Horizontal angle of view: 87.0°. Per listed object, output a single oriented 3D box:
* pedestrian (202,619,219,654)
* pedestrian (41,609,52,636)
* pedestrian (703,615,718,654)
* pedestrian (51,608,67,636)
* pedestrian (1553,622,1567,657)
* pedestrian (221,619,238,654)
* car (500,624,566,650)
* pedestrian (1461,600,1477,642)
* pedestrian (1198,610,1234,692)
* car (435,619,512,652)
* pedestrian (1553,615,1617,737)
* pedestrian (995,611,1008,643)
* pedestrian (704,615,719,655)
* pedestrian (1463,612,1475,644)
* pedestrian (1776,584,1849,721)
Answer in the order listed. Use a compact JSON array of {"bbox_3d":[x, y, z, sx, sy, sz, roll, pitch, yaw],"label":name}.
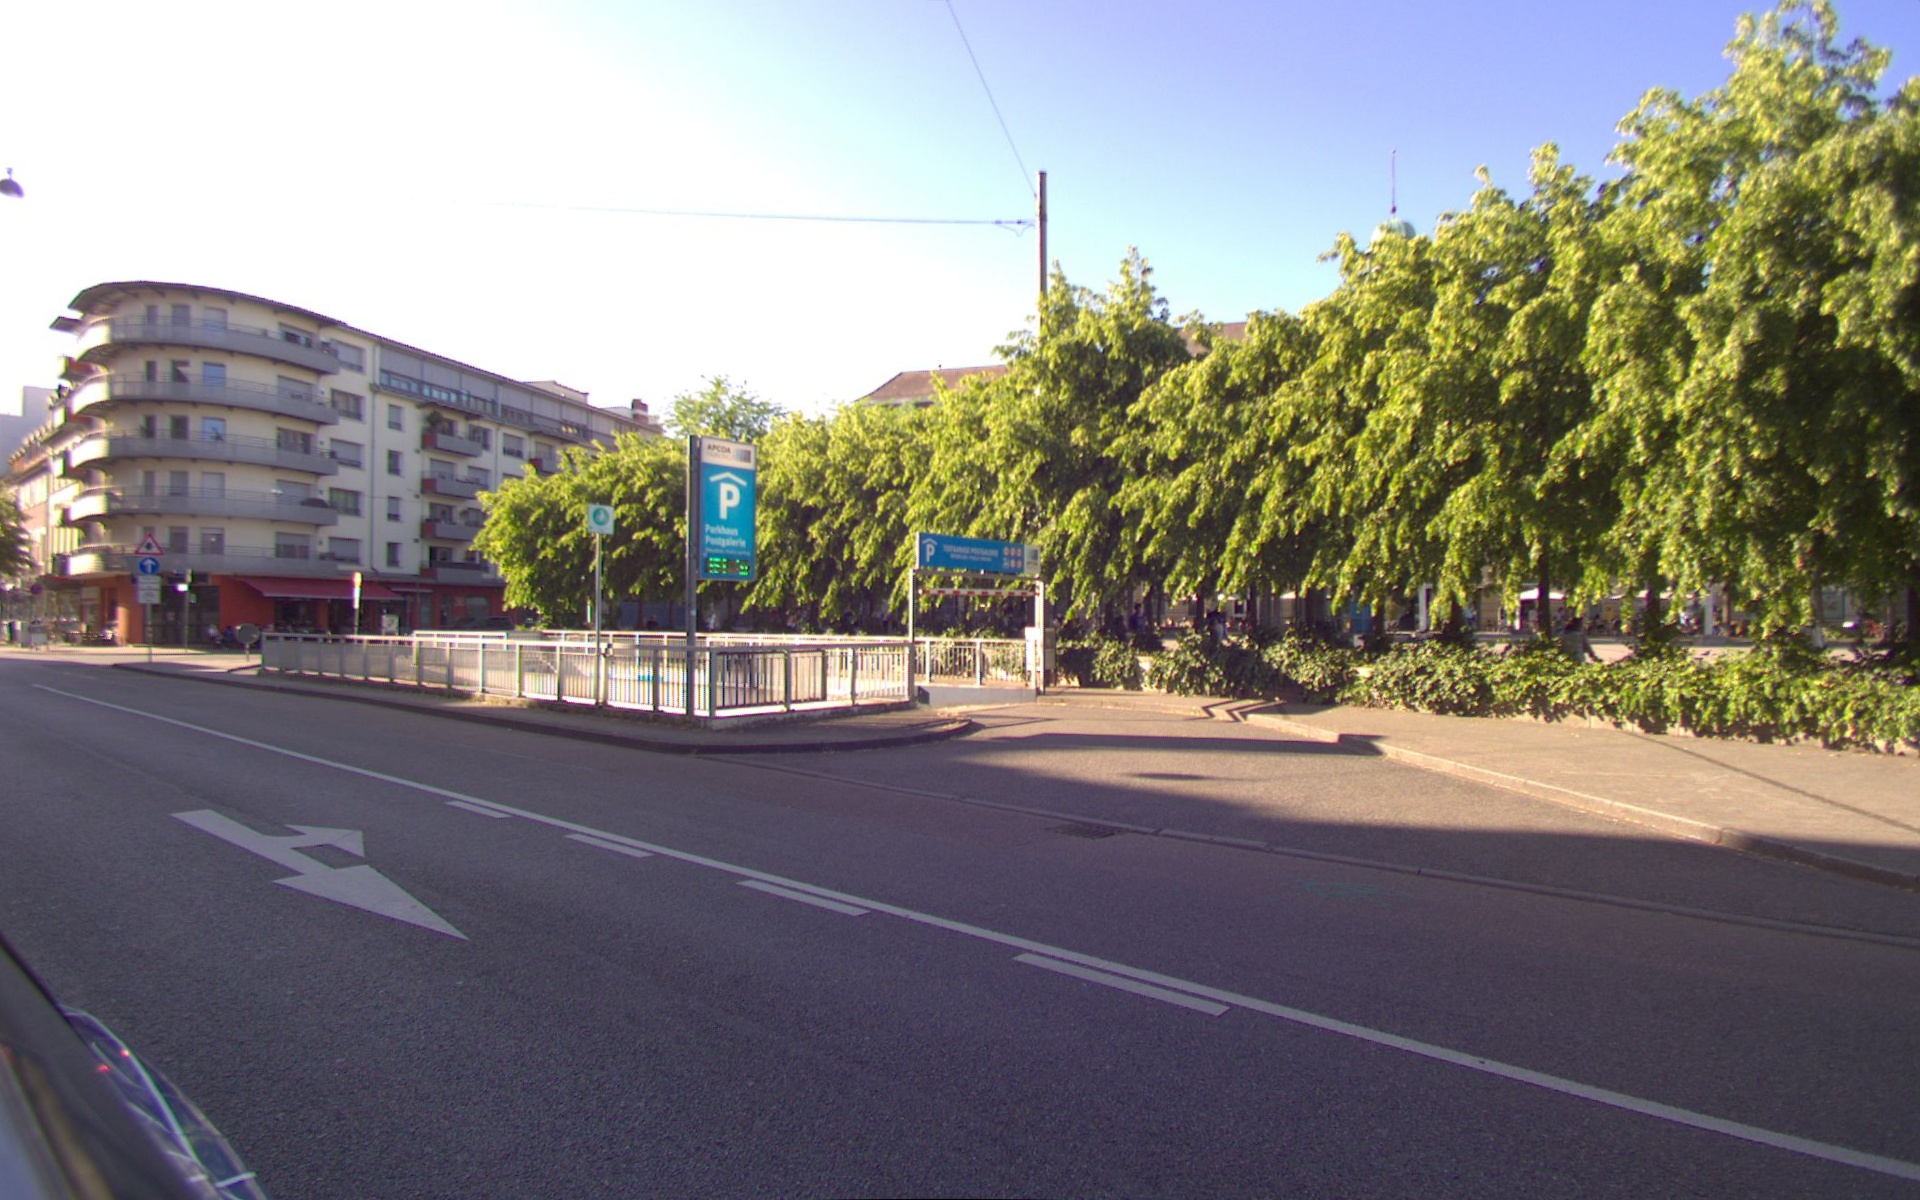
[{"bbox_3d":[-37.469,1.827,50.589,0.642,1.721,0.568,-2,-2,43],"label":"pedestrian"},{"bbox_3d":[-53.111,1.295,58.838,0.515,1.541,0.371,-1,-1,37],"label":"pedestrian"},{"bbox_3d":[-11.616,1.587,47.064,0.574,1.806,0.602,0,0,-5],"label":"pedestrian"},{"bbox_3d":[-52.800,1.271,59.286,0.792,1.634,0.563,-1,-1,37],"label":"pedestrian"},{"bbox_3d":[30.759,2.013,51.901,0.580,1.806,0.596,-1,-1,27],"label":"pedestrian"},{"bbox_3d":[-36.821,1.832,51.018,0.642,1.721,0.568,-2,-2,43],"label":"pedestrian"},{"bbox_3d":[-28.885,2.481,68.607,1.938,1.633,4.272,-1,-1,16],"label":"car"},{"bbox_3d":[22.138,0.923,44.010,0.599,1.806,0.576,-1,-1,31],"label":"pedestrian"},{"bbox_3d":[5.952,1.178,23.518,0.674,1.870,0.577,-1,-1,30],"label":"pedestrian"},{"bbox_3d":[-30.430,2.204,63.435,1.938,1.927,4.403,-1,-1,16],"label":"car"},{"bbox_3d":[9.863,1.172,15.972,0.732,1.870,0.574,-1,-1,44],"label":"pedestrian"},{"bbox_3d":[2.321,1.497,56.635,0.578,1.806,0.597,-1,0,20],"label":"pedestrian"},{"bbox_3d":[-11.372,1.582,46.342,0.574,1.806,0.602,0,0,-5],"label":"pedestrian"},{"bbox_3d":[28.984,1.584,57.640,0.598,1.806,0.577,-1,-1,27],"label":"pedestrian"},{"bbox_3d":[11.930,0.721,14.177,0.597,1.870,0.578,-1,0,22],"label":"pedestrian"}]
